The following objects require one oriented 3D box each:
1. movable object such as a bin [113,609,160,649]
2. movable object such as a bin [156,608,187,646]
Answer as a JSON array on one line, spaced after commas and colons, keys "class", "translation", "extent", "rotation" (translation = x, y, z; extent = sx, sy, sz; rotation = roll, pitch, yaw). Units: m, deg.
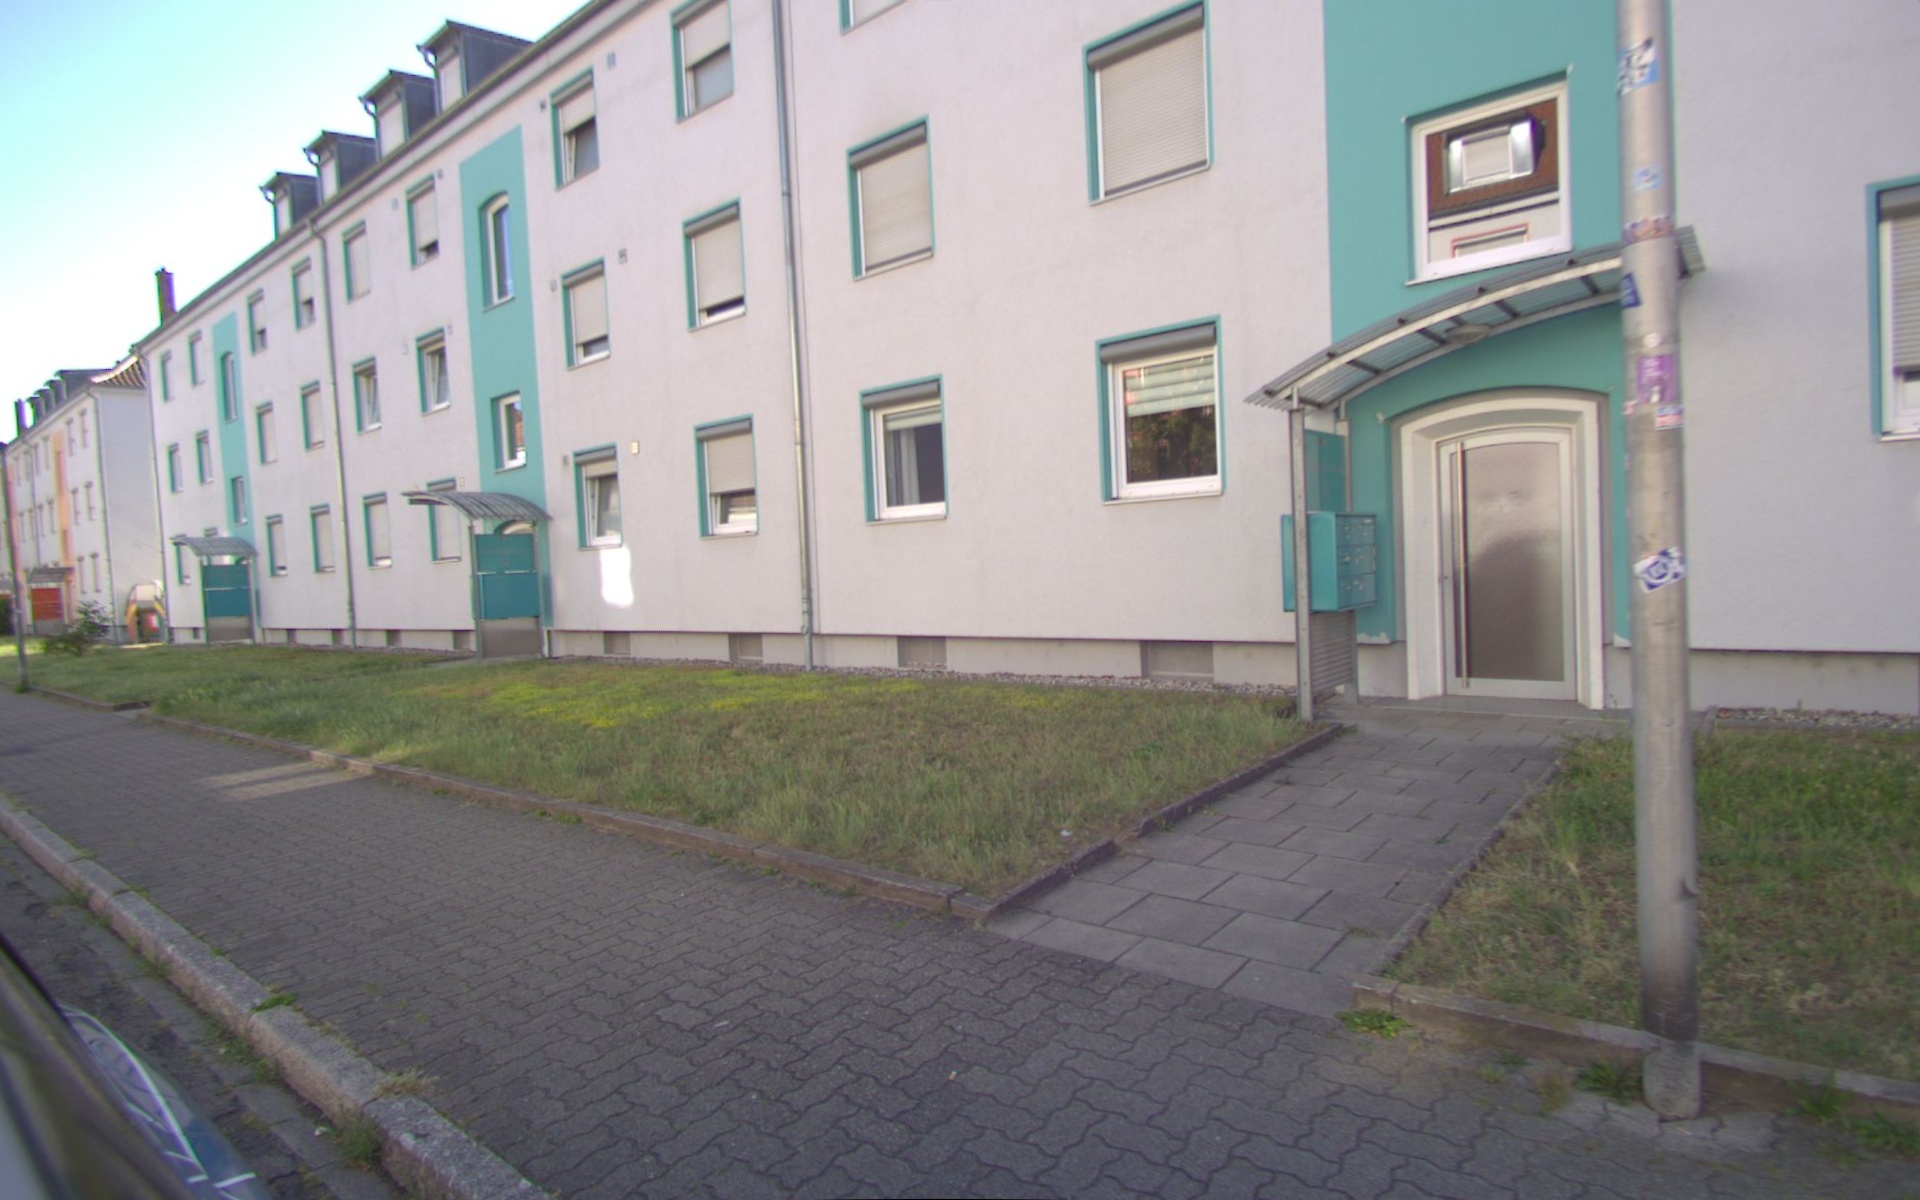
[{"class": "movable object such as a bin", "translation": [-30.686, 1.067, 37.707], "extent": [0.877, 1.403, 1.152], "rotation": [-2, 2, 40]}, {"class": "movable object such as a bin", "translation": [-30.025, 1.033, 38.533], "extent": [0.762, 1.403, 0.744], "rotation": [-2, 1, 40]}]
